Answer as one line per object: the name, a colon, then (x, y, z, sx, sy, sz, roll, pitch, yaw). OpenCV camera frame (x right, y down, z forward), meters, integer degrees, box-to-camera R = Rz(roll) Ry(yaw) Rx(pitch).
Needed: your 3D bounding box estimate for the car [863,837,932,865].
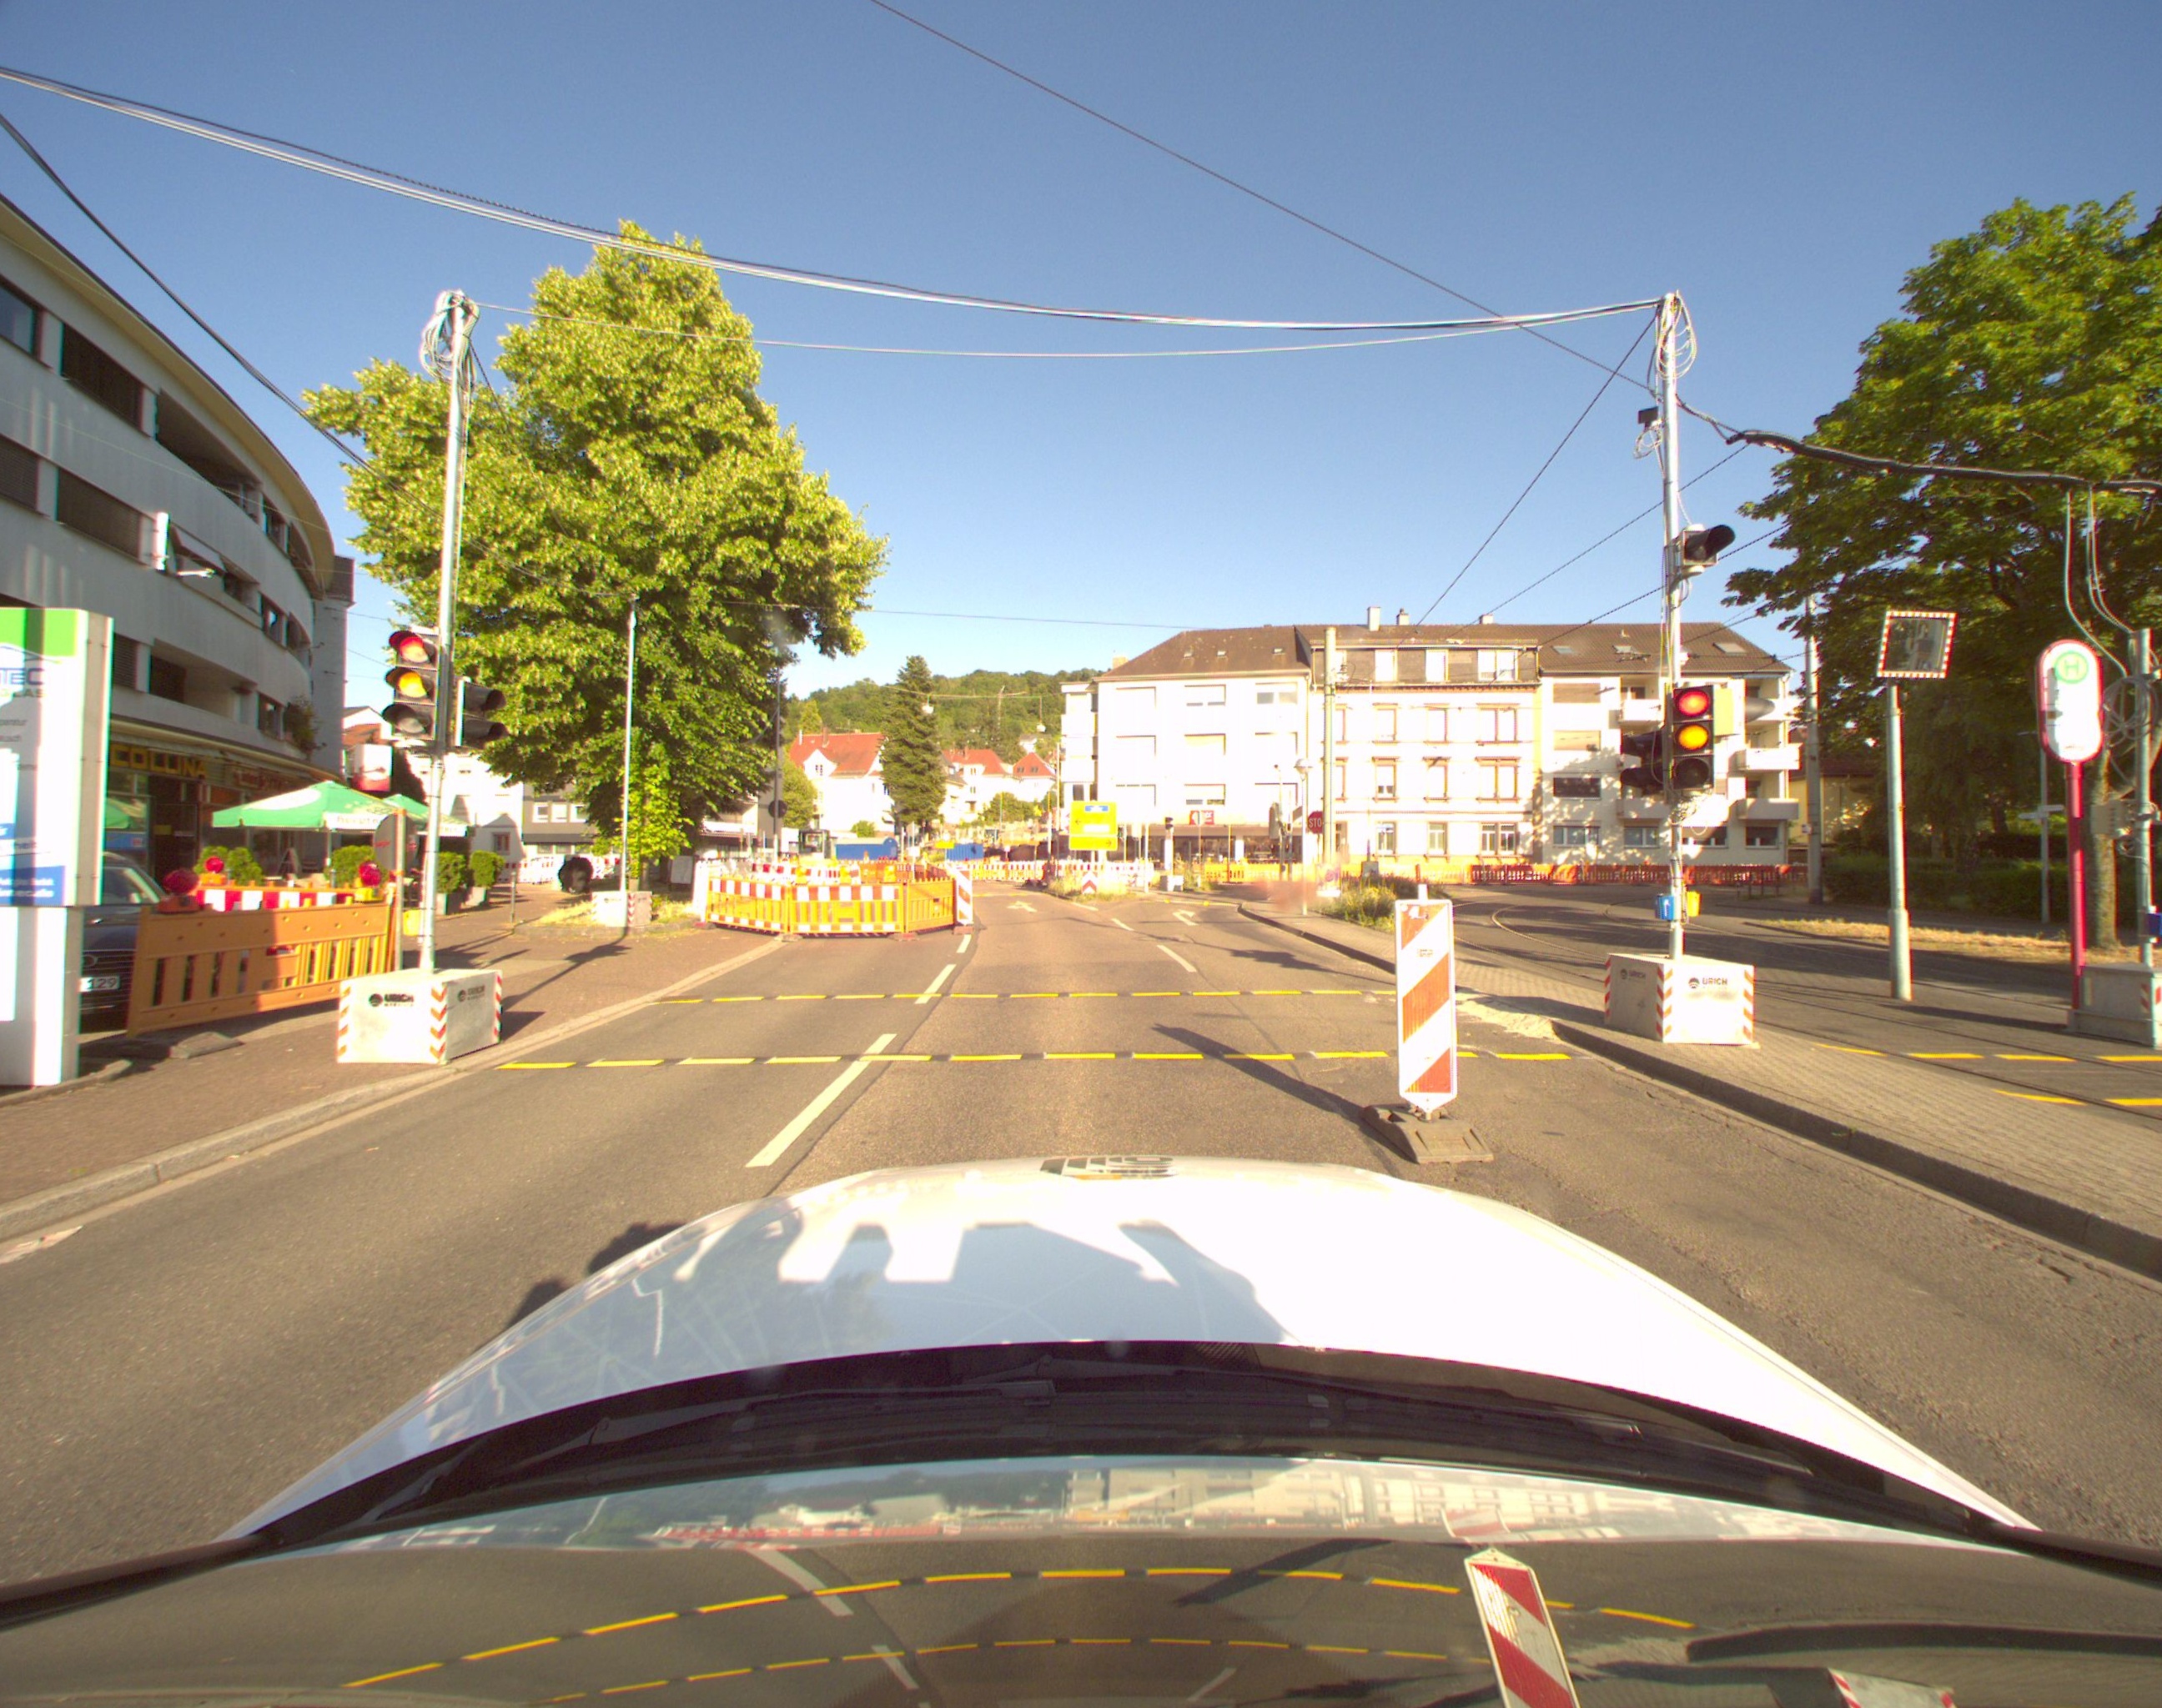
car: (-14.950, -0.227, 66.707, 2.562, 2.121, 6.181, -1, -1, 20)

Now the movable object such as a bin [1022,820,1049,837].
movable object such as a bin: (-6.414, -3.593, 115.289, 2.549, 2.122, 5.801, -1, -1, 11)

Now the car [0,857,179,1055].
car: (-9.316, 0.780, 7.305, 3.835, 1.438, 1.606, -1, 0, 42)

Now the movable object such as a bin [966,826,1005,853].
movable object such as a bin: (-9.237, -1.347, 79.389, 1.932, 2.494, 4.574, -1, -1, 20)

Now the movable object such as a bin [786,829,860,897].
movable object such as a bin: (-9.383, 0.301, 29.872, 1.643, 2.324, 3.916, 0, 0, -3)
